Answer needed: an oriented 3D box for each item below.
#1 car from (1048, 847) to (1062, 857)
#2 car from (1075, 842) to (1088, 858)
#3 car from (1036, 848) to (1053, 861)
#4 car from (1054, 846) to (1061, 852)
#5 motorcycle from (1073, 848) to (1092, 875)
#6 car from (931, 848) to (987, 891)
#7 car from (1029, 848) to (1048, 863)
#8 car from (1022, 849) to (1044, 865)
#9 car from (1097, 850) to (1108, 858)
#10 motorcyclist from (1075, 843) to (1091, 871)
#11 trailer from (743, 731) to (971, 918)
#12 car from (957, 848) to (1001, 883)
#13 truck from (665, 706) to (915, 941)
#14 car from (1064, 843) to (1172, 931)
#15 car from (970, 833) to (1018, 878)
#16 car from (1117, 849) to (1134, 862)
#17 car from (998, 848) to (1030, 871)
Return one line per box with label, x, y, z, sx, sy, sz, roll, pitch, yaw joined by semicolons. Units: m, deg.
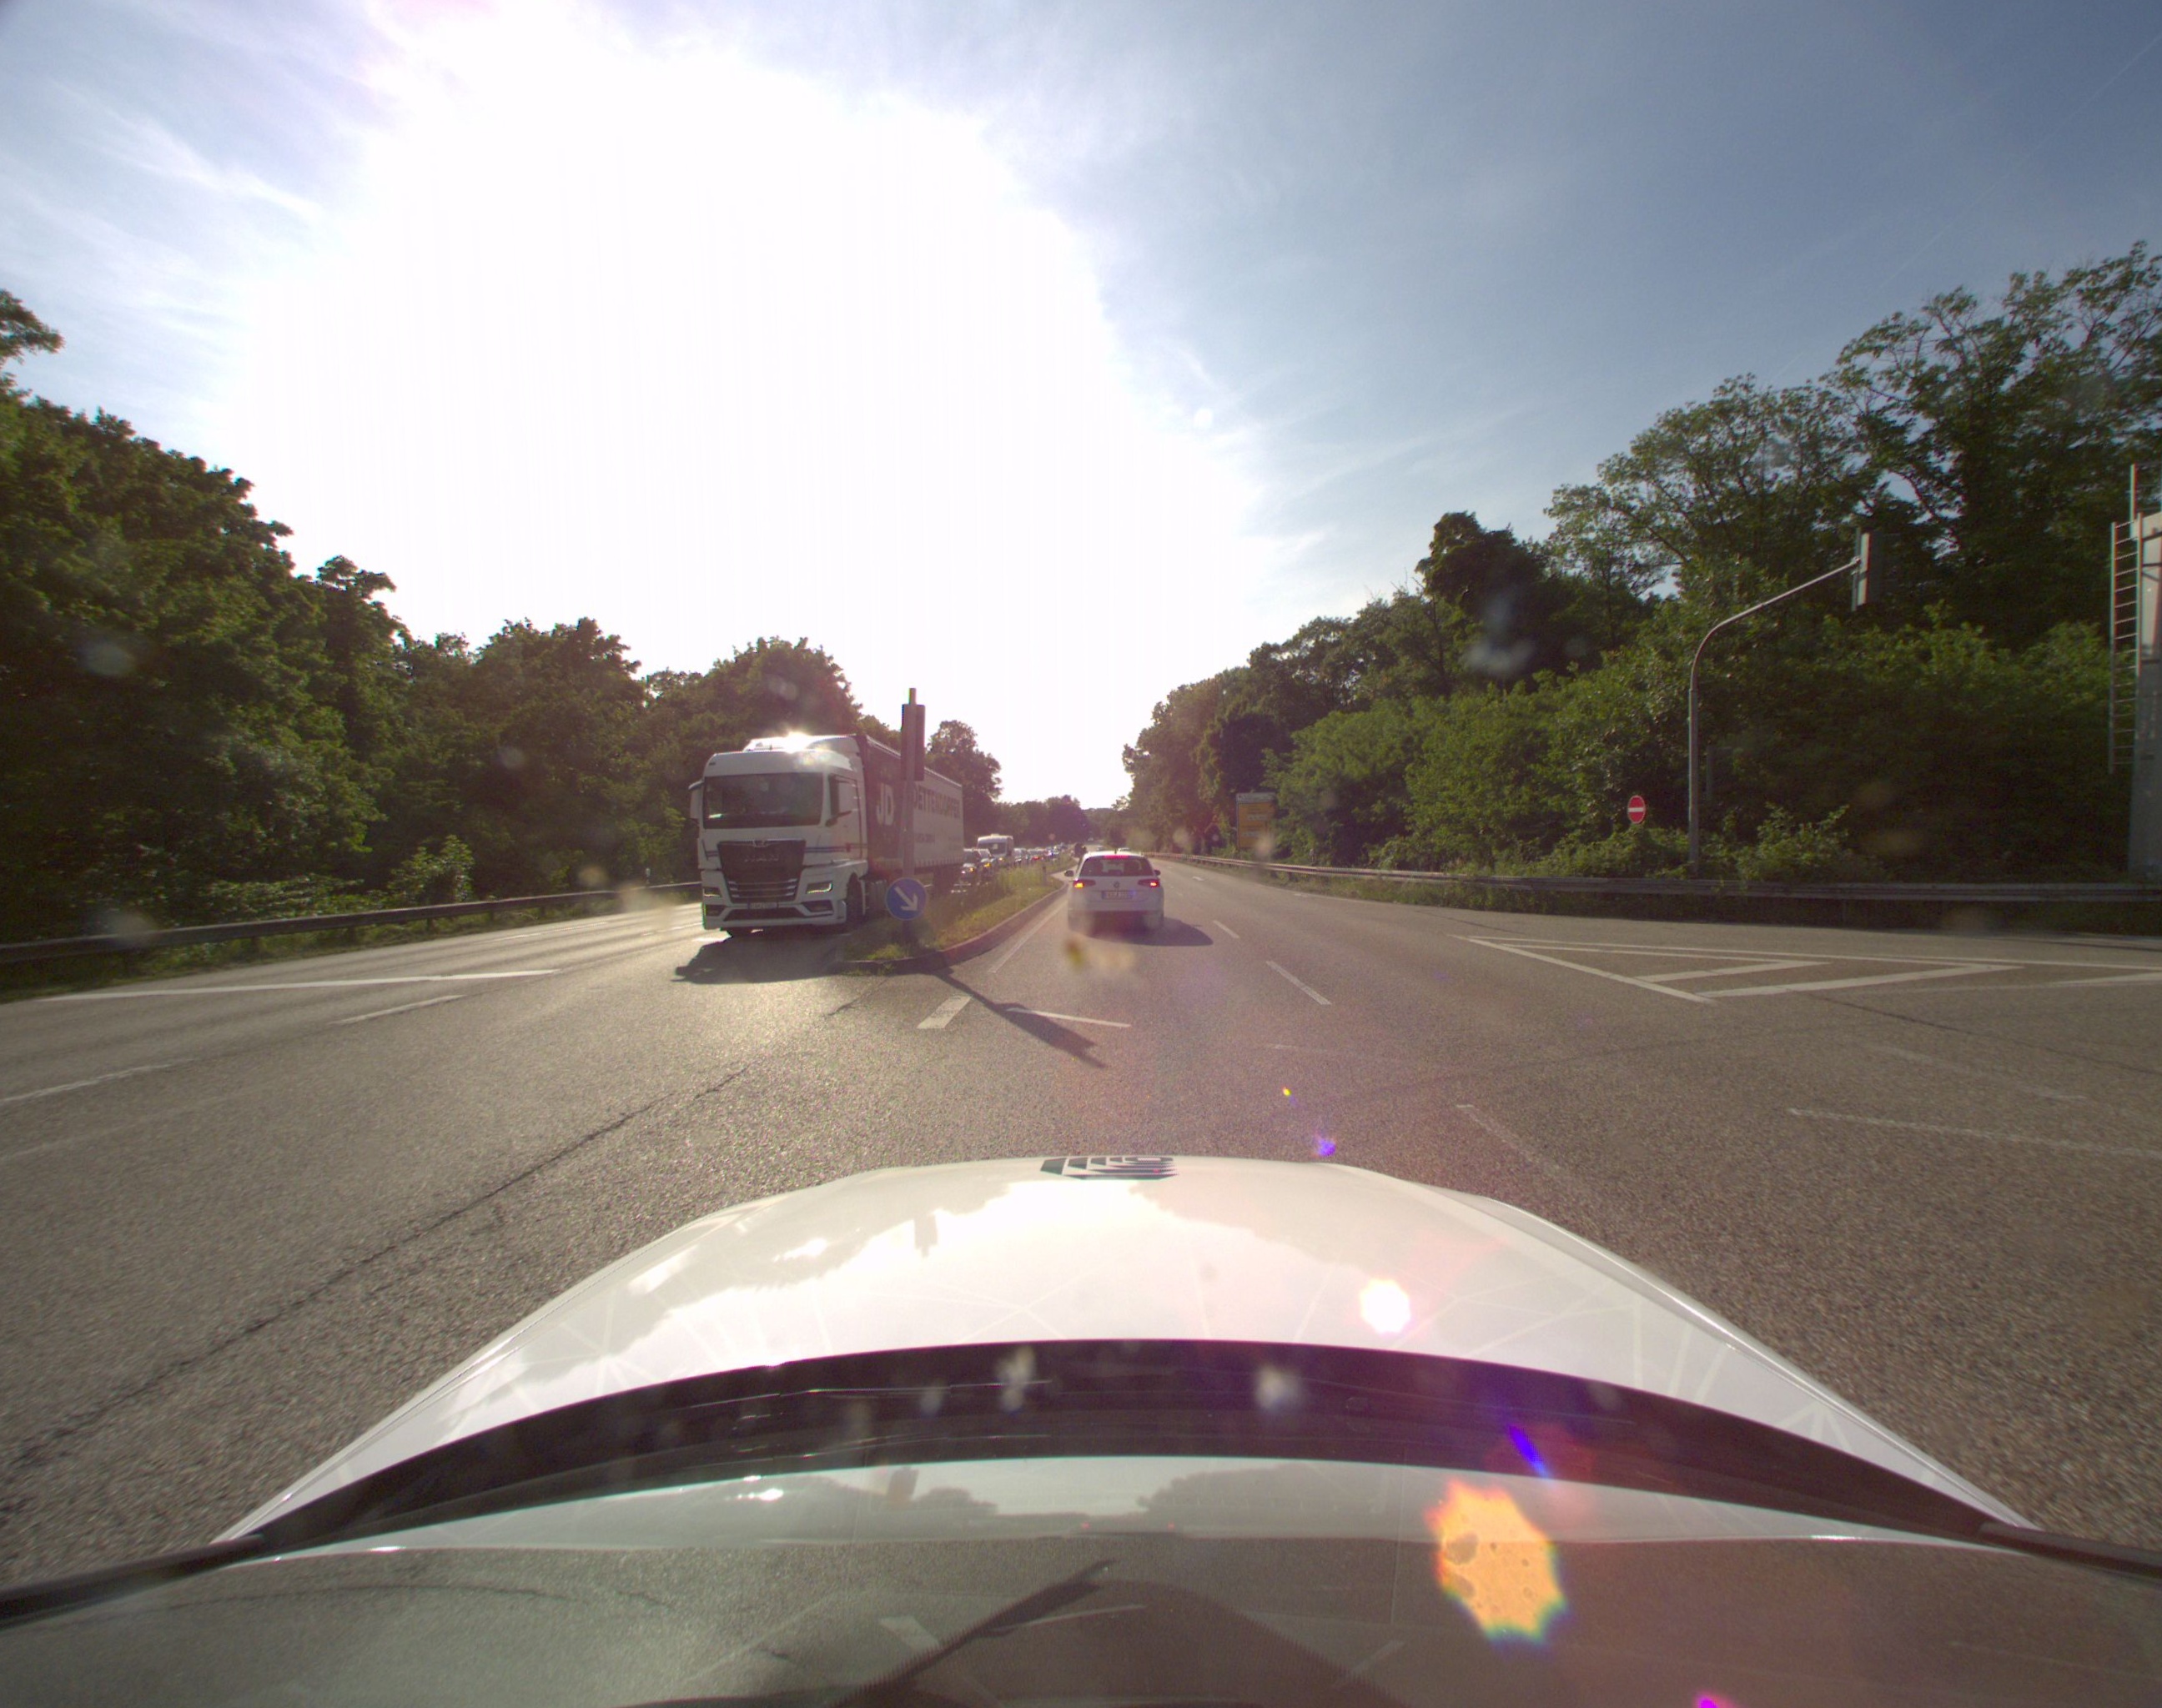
car;-4.094;-0.289;127.868;1.861;1.417;4.416;-2;1;1
car;0.086;-0.761;154.500;2.202;2.888;7.012;-2;1;1
car;-4.490;0.050;99.543;1.761;1.417;4.435;-2;1;1
car;-6.372;-1.334;217.947;1.783;1.411;4.224;0;1;-2
motorcycle;0.098;0.428;47.469;0.905;1.453;2.691;-4;1;3
car;-5.111;0.607;34.695;1.695;1.631;4.370;-2;1;-1
car;-4.583;0.147;87.624;1.701;1.423;4.212;-2;1;1
car;-4.720;0.258;80.624;1.765;1.423;5.193;-2;1;1
car;4.140;-0.057;154.998;1.741;1.537;3.921;0;1;-3
motorcyclist;0.108;0.166;47.598;0.880;1.616;1.291;0;1;3
trailer;-5.797;-0.728;24.656;2.982;3.995;14.012;-1;1;0
car;-5.261;0.554;42.468;1.695;1.631;4.746;-2;1;0
truck;-5.714;-0.569;17.458;2.882;3.997;6.720;-1;1;-1
car;0.650;0.543;16.675;1.864;1.521;4.833;1;1;0
car;-5.283;0.028;50.297;2.068;2.533;6.165;-2;1;1
car;4.725;0.124;87.218;1.755;1.380;3.973;0;1;2
car;-4.764;0.356;58.524;1.754;1.456;5.187;-2;1;1
